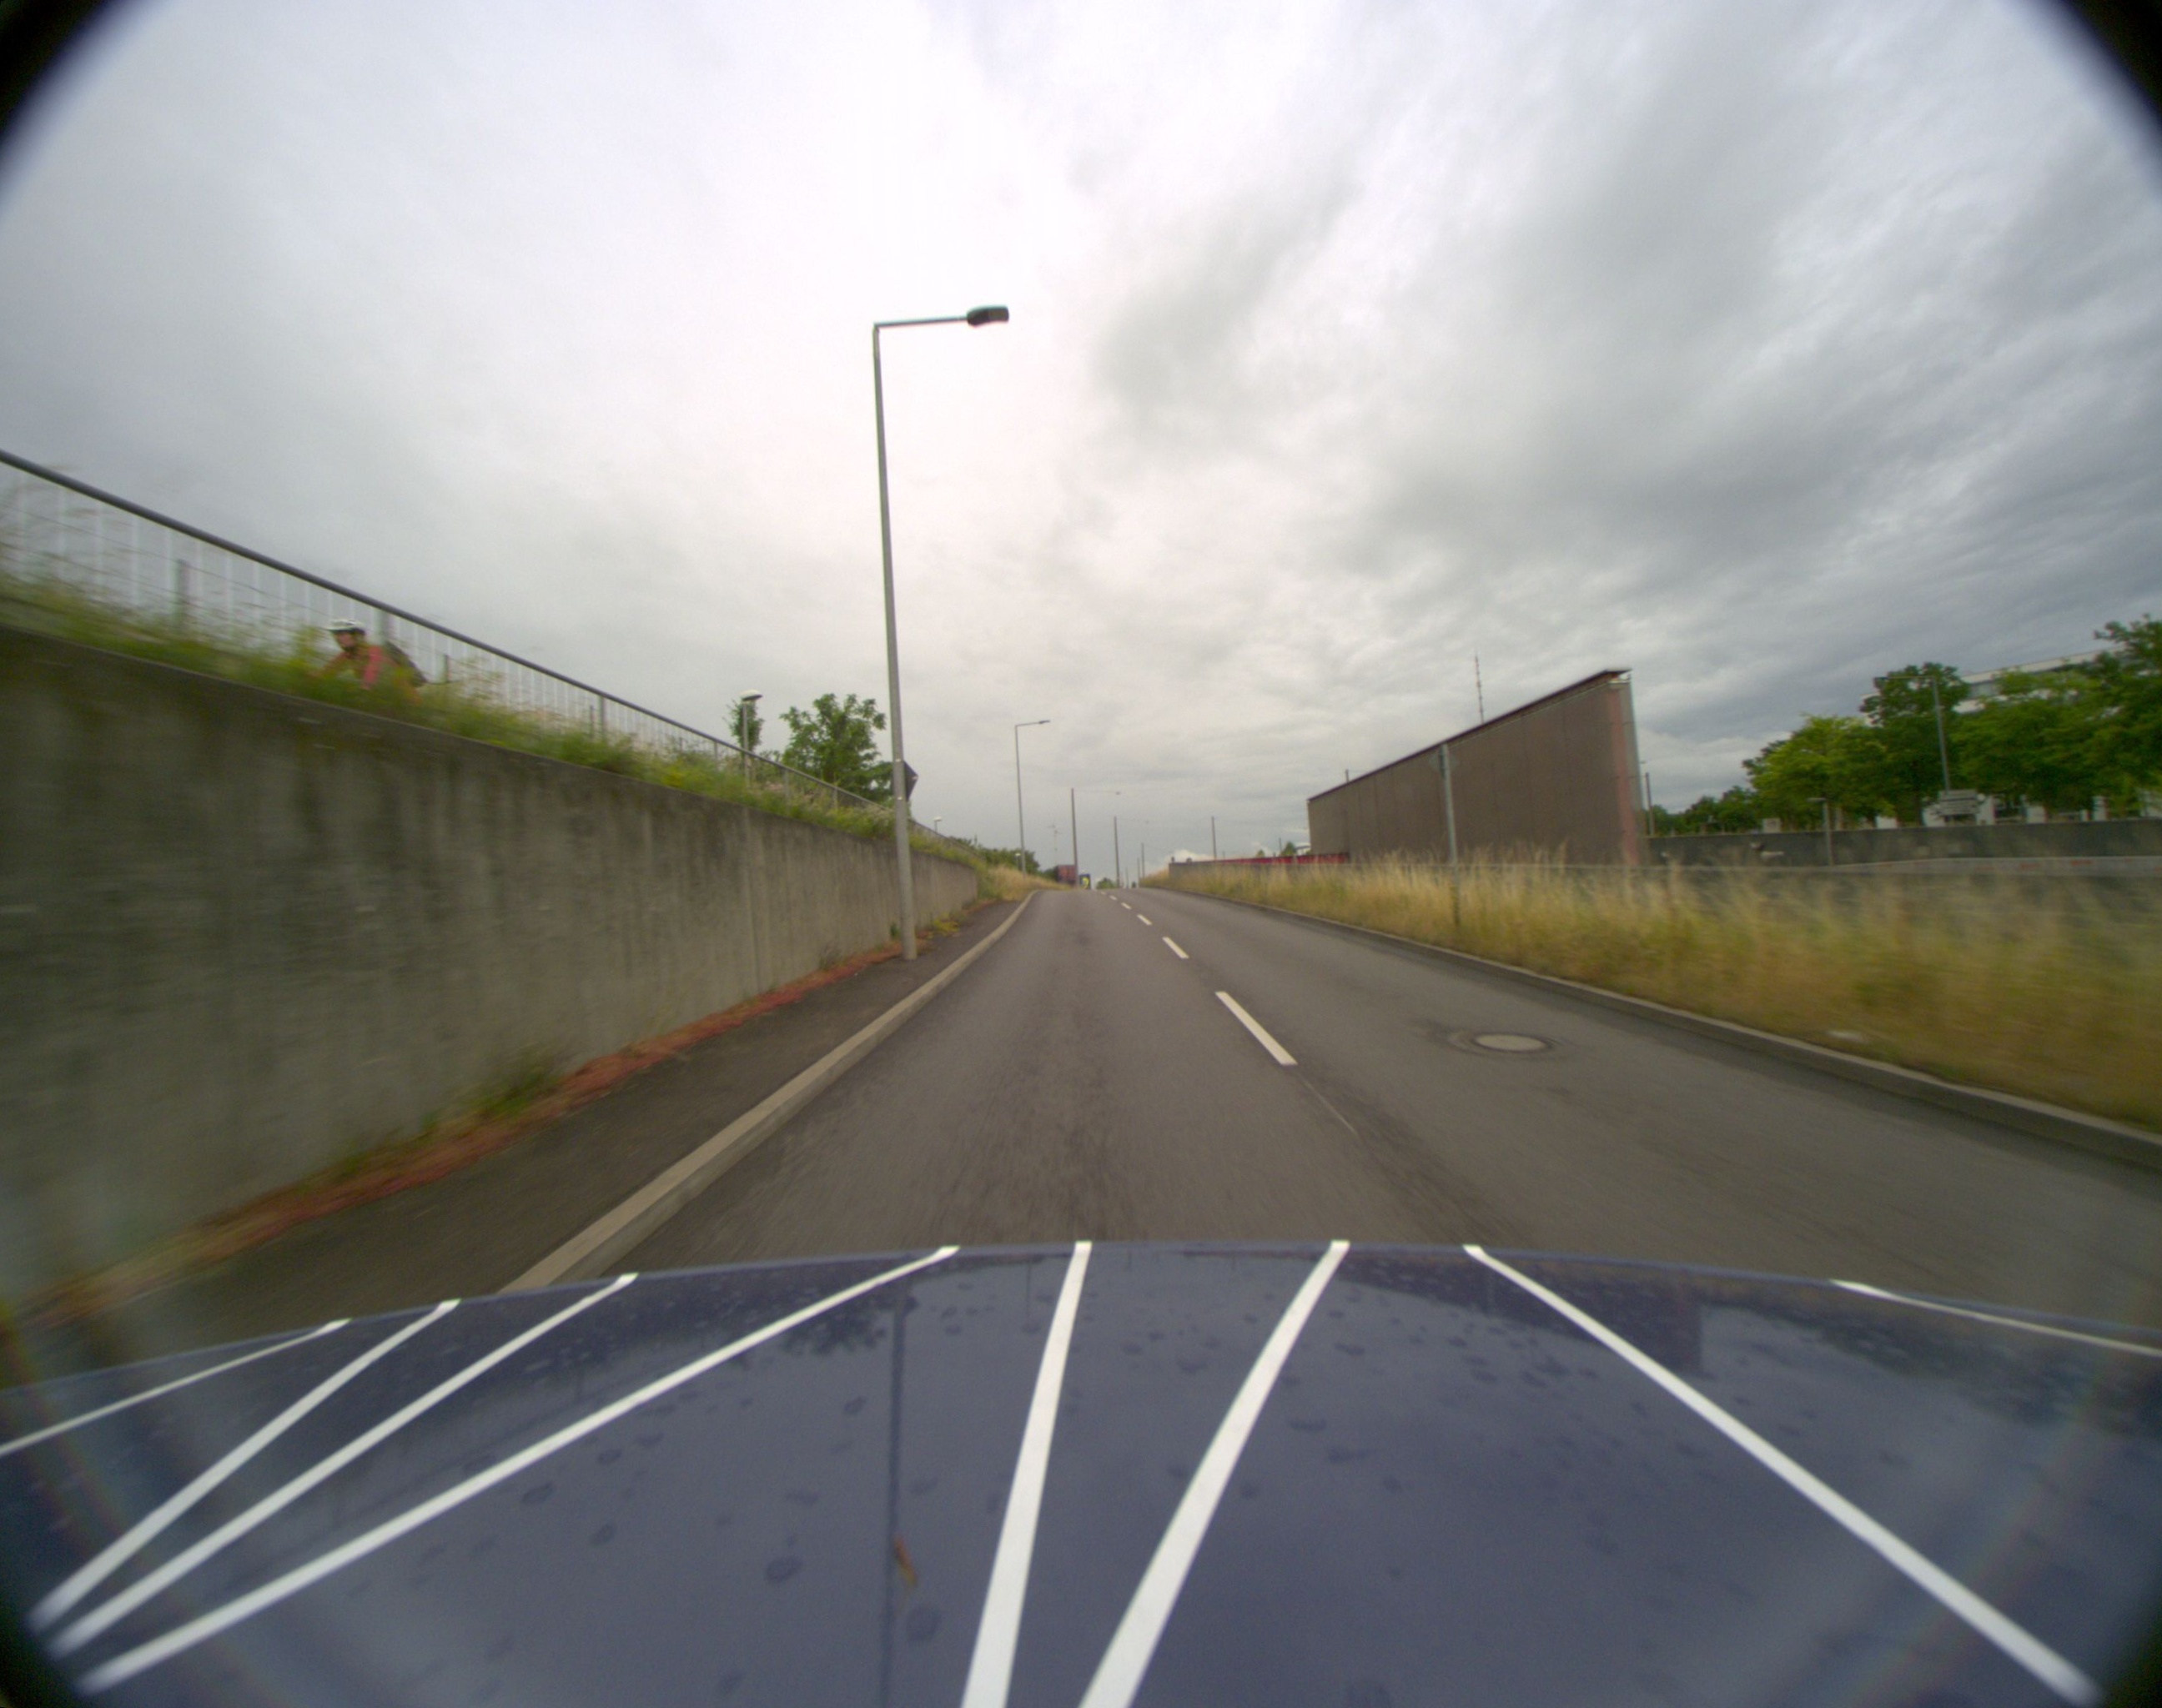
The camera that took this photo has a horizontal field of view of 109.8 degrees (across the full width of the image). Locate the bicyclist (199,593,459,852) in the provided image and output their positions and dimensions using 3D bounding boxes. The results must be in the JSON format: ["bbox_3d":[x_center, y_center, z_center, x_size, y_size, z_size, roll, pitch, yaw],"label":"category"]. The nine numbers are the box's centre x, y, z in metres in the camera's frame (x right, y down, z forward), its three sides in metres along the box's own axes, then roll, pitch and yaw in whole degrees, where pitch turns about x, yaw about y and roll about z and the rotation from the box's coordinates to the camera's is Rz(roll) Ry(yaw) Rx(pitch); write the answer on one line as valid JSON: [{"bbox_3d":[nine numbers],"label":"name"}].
[{"bbox_3d":[-6.390,-1.035,6.564,0.871,1.896,1.294,-6,-3,-2],"label":"bicyclist"}]

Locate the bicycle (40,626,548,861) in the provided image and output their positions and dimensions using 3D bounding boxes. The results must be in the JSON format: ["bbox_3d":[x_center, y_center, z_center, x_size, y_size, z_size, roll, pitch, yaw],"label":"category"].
[{"bbox_3d":[-6.357,-0.711,6.693,0.871,1.280,3.488,-6,-3,-2],"label":"bicycle"}]
